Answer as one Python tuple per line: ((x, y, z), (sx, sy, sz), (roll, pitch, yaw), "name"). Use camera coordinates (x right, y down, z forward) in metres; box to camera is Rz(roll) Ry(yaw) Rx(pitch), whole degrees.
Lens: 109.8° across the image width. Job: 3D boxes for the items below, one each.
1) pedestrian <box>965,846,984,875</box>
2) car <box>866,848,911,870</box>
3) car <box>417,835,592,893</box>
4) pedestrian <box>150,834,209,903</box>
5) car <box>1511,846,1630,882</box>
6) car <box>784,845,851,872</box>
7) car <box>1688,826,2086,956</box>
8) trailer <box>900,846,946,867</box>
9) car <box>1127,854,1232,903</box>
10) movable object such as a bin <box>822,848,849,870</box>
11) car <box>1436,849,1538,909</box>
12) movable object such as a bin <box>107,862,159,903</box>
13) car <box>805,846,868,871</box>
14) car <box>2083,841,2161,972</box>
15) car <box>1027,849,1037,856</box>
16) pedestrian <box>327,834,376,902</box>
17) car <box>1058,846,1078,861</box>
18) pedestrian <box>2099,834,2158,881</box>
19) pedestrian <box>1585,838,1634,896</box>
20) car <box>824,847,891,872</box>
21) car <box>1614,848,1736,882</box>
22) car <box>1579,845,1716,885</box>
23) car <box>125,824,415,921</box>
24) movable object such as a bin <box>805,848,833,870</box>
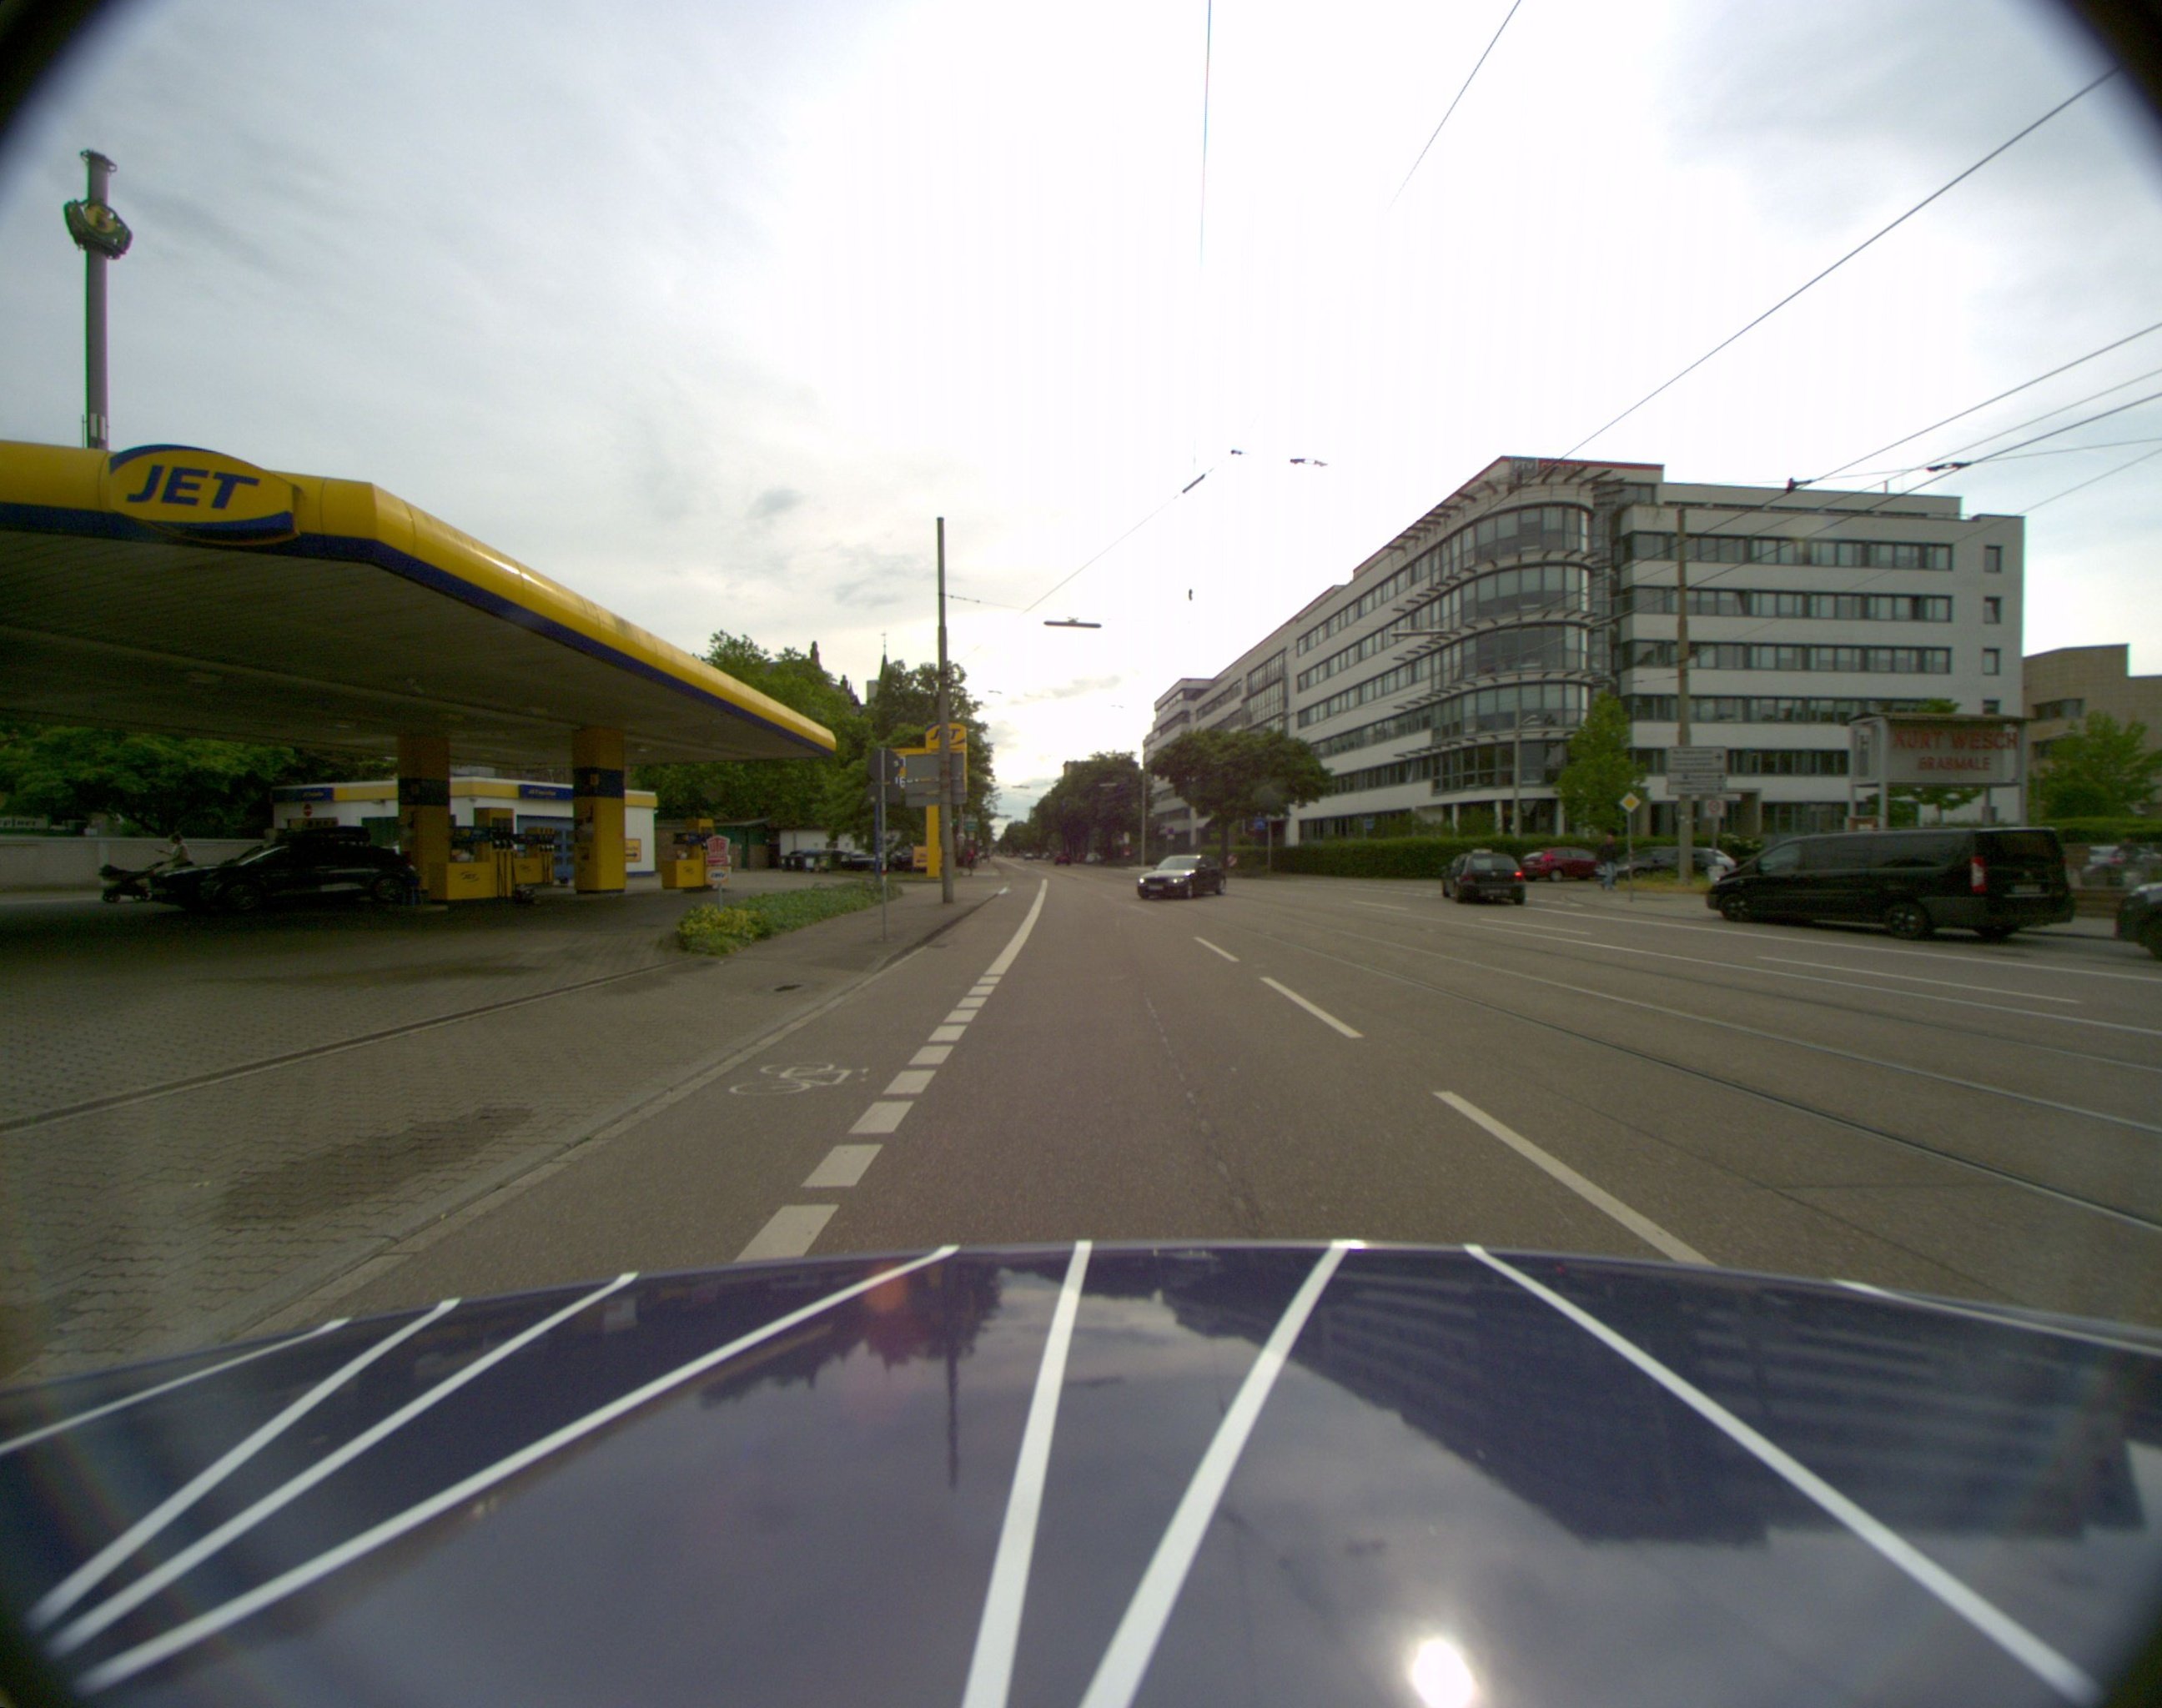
((-6.722, 0.414, 47.905), (0.871, 1.738, 0.848), (2, 2, -32), "pedestrian")
((-12.508, 0.294, 49.662), (1.999, 1.281, 3.998), (-1, 1, -2), "car")
((-20.370, 0.345, 27.103), (1.982, 1.832, 4.536), (2, 0, 24), "car")
((-24.364, 0.405, 20.557), (0.602, 1.808, 0.972), (0, -2, 42), "pedestrian")
((20.603, 0.437, 32.073), (4.018, 1.413, 1.725), (-1, -1, -6), "car")
((-17.756, 0.308, 51.379), (1.807, 1.686, 4.033), (-1, 1, 30), "car")
((14.994, 0.554, 14.749), (1.992, 2.002, 5.181), (-2, 1, -5), "car")
((-12.062, 0.173, 58.167), (3.292, 1.523, 1.772), (1, 3, -6), "trailer")
((3.312, 0.740, 24.919), (1.783, 1.361, 4.120), (-1, 1, 33), "car")
((-15.290, 0.325, 47.341), (1.118, 1.312, 1.162), (-1, 1, 28), "movable object such as a bin")
((11.717, 0.656, 22.200), (1.792, 1.521, 4.146), (2, 1, 17), "car")
((-24.871, 0.744, 19.949), (0.602, 1.059, 0.797), (0, -2, 42), "movable object such as a bin")
((-17.799, 0.304, 55.470), (3.999, 1.657, 1.999), (-1, 1, -6), "car")
((15.842, 0.687, 8.901), (2.043, 1.739, 4.532), (-2, 0, -6), "car")
((-10.826, -0.358, 166.785), (1.802, 1.537, 4.476), (-1, 1, -9), "car")
((-19.388, 0.365, 20.195), (0.706, 1.777, 0.628), (-1, 2, 21), "pedestrian")
((-1.633, -0.069, 92.374), (1.848, 1.714, 4.403), (-1, 1, -10), "car")
((45.824, 0.156, 33.244), (1.217, 2.002, 1.186), (0, 1, -19), "pedestrian")
((17.036, 0.391, 24.523), (0.806, 1.815, 1.059), (-1, 1, -2), "pedestrian")
((-15.011, 0.352, 51.147), (1.822, 1.509, 4.007), (-1, 1, 34), "car")
((25.315, 0.447, 32.424), (4.048, 1.341, 1.778), (-1, 1, -7), "car")
((21.745, 0.396, 29.253), (3.985, 1.443, 1.815), (0, 1, -3), "car")
((-18.760, 0.324, 17.896), (1.820, 1.977, 4.259), (1, 2, 17), "car")
((-16.464, 0.319, 47.787), (1.118, 1.351, 1.162), (-1, 1, 28), "movable object such as a bin")
